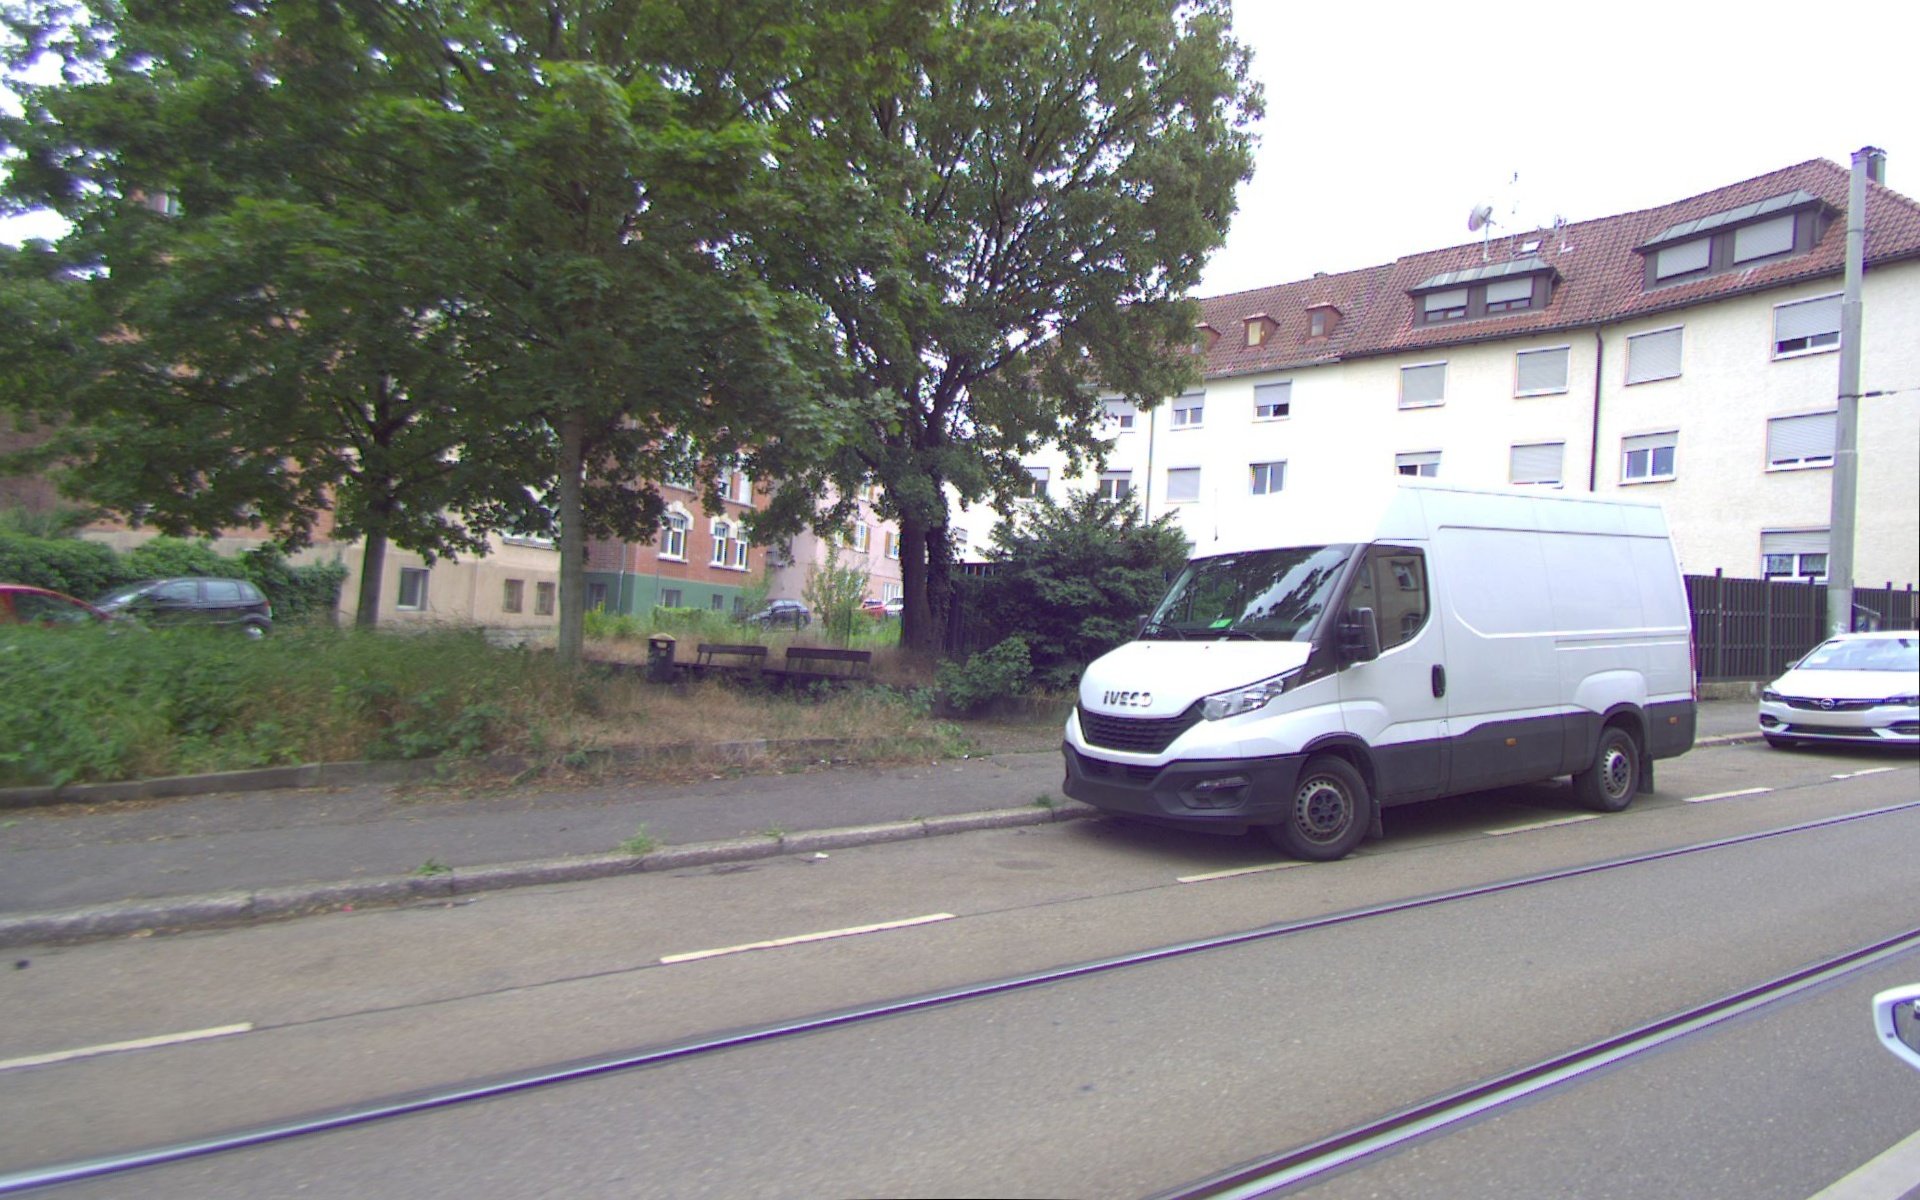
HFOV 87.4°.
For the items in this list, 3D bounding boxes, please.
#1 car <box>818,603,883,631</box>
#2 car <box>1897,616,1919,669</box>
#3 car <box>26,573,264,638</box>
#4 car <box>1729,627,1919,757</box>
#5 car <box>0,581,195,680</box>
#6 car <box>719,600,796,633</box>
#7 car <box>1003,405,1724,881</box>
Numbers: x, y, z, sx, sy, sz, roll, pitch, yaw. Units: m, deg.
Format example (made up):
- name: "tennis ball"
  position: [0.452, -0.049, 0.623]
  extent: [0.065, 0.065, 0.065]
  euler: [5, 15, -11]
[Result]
- name: "car"
  position: [-5.348, 0.817, 49.543]
  extent: [1.429, 1.252, 3.778]
  euler: [2, 1, 24]
- name: "car"
  position: [35.103, 1.435, 33.634]
  extent: [1.920, 1.842, 5.145]
  euler: [1, -2, -33]
- name: "car"
  position: [-17.582, 0.111, 21.866]
  extent: [1.429, 1.252, 3.778]
  euler: [2, 1, 24]
- name: "car"
  position: [11.809, 1.071, 12.760]
  extent: [4.262, 1.421, 1.711]
  euler: [1, -3, -30]
- name: "car"
  position: [-14.618, 0.440, 15.840]
  extent: [1.622, 1.434, 3.726]
  euler: [3, 1, 27]
- name: "car"
  position: [-8.498, 0.678, 42.417]
  extent: [1.430, 1.252, 3.419]
  euler: [2, 1, 24]
- name: "car"
  position: [3.490, 0.324, 8.117]
  extent: [6.148, 2.641, 2.148]
  euler: [1, -3, -31]
